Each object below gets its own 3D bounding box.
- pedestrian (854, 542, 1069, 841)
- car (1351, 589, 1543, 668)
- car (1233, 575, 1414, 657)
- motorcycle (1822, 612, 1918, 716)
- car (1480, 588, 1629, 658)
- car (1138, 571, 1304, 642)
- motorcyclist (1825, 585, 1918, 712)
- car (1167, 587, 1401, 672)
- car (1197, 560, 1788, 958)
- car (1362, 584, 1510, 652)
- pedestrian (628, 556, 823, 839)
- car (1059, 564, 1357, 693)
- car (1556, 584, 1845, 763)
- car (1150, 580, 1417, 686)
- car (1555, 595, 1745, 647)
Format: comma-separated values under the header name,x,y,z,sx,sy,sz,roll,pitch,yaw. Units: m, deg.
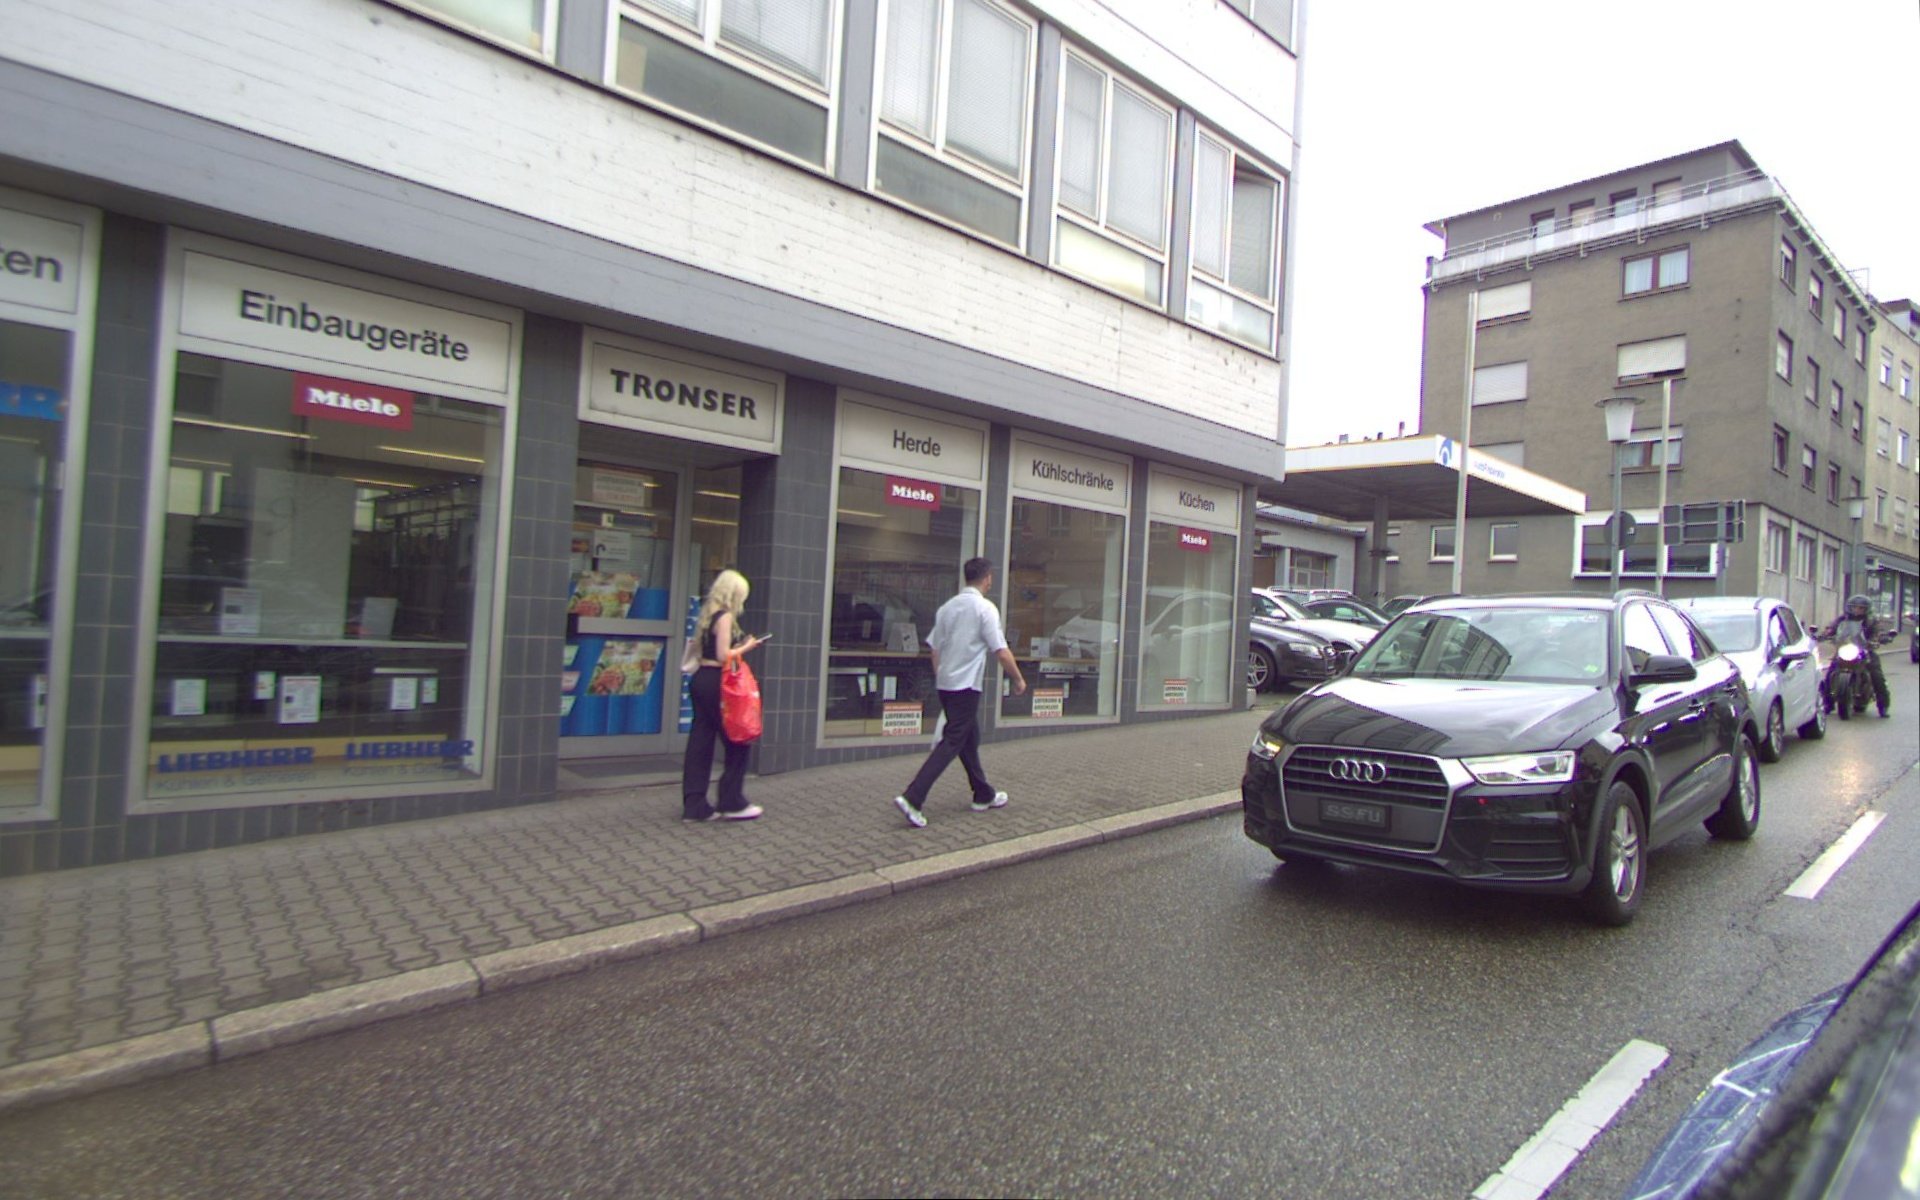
name,x,y,z,sx,sy,sz,roll,pitch,yaw
pedestrian,0.016,0.515,6.555,1.102,1.726,0.785,0,4,-44
car,10.258,0.530,21.201,4.531,1.433,1.793,0,2,-38
car,8.285,0.374,22.900,4.411,1.563,1.793,2,3,-40
motorcycle,12.155,0.804,13.490,0.844,1.241,2.335,-2,-2,44
car,14.612,0.515,24.799,4.358,1.530,1.792,0,1,-40
car,6.516,0.131,25.055,4.340,1.620,1.792,0,1,-40
motorcyclist,12.092,0.621,13.426,0.845,1.610,0.947,-2,-2,44
car,6.182,0.495,19.493,3.975,1.418,1.650,2,1,36
car,3.413,0.655,6.111,4.129,1.580,1.825,0,-2,-42
car,12.559,0.487,26.604,4.340,1.530,1.793,2,3,-40
pedestrian,-1.458,0.537,6.283,0.876,1.569,0.766,0,4,-44
car,3.704,0.338,15.322,3.973,1.468,1.778,6,3,33
car,8.145,0.675,10.986,4.182,1.561,1.827,0,-2,-44
car,5.417,0.470,17.109,3.973,1.549,1.742,2,1,34
car,21.527,0.625,31.749,1.963,1.523,4.534,0,-1,-36
